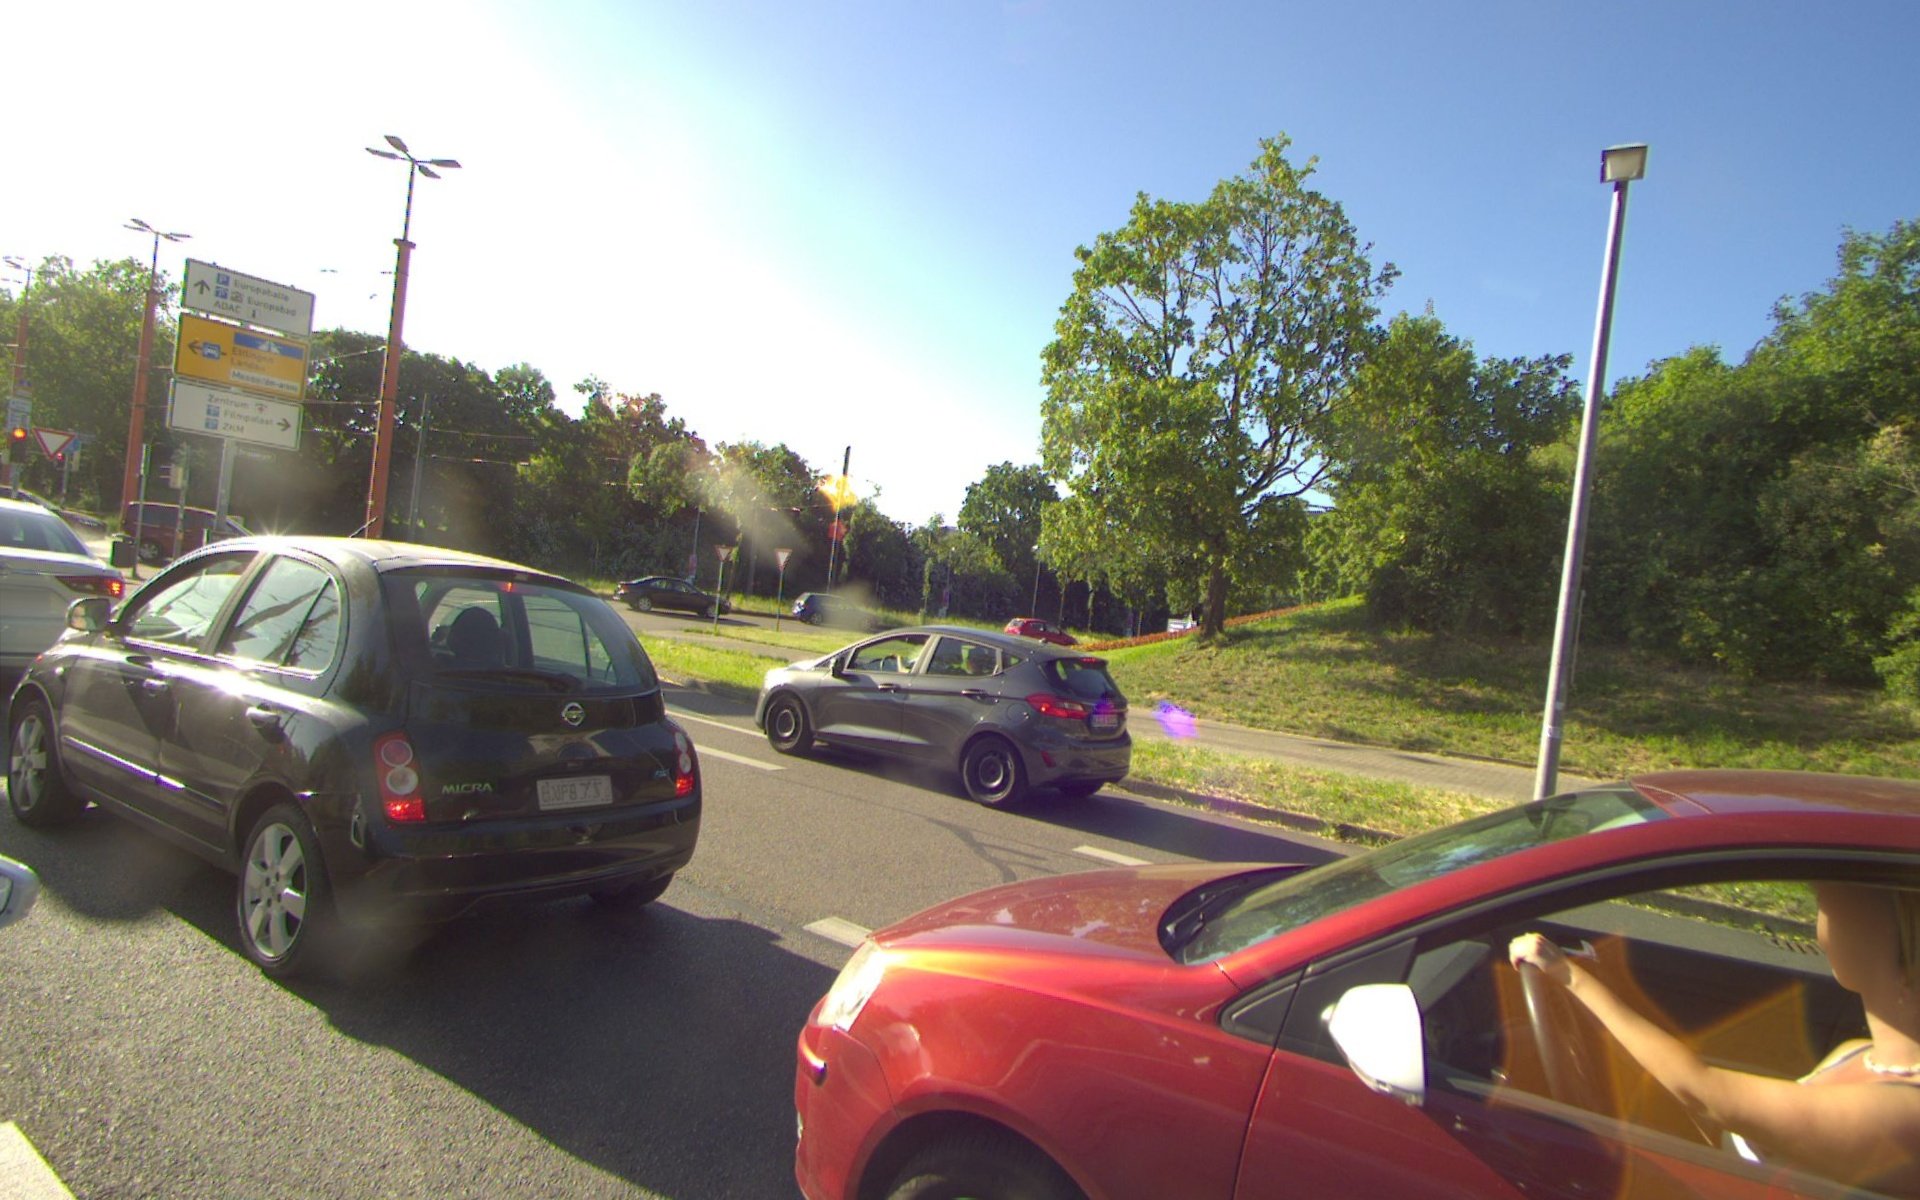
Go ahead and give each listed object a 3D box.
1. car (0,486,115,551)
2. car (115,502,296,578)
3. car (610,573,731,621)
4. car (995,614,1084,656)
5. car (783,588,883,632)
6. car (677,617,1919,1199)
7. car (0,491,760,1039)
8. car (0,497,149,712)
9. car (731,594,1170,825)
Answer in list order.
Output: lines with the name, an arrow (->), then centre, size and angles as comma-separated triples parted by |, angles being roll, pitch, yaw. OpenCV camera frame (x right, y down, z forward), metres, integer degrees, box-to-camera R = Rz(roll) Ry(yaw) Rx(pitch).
car -> -30.466, -2.754, 32.451 | 4.517, 1.688, 1.828 | 8, -1, -30
car -> -24.108, -1.894, 32.372 | 4.311, 1.753, 1.828 | 8, -1, -30
car -> -11.461, -0.100, 39.889 | 4.271, 1.343, 1.748 | 8, -1, -29
car -> 3.893, 1.712, 49.104 | 3.958, 1.512, 1.757 | 8, -1, -31
car -> -5.925, 0.483, 46.988 | 4.186, 1.497, 1.741 | 8, -1, -29
car -> 1.379, 0.992, 1.890 | 3.634, 1.434, 1.624 | 7, -1, 34
car -> -2.813, 0.465, 4.621 | 3.457, 1.524, 1.558 | 7, 0, 32
car -> -8.339, -0.162, 7.974 | 4.077, 1.472, 1.717 | 7, -1, 33
car -> -0.172, 0.934, 9.746 | 3.831, 1.487, 1.747 | 7, -1, 35
